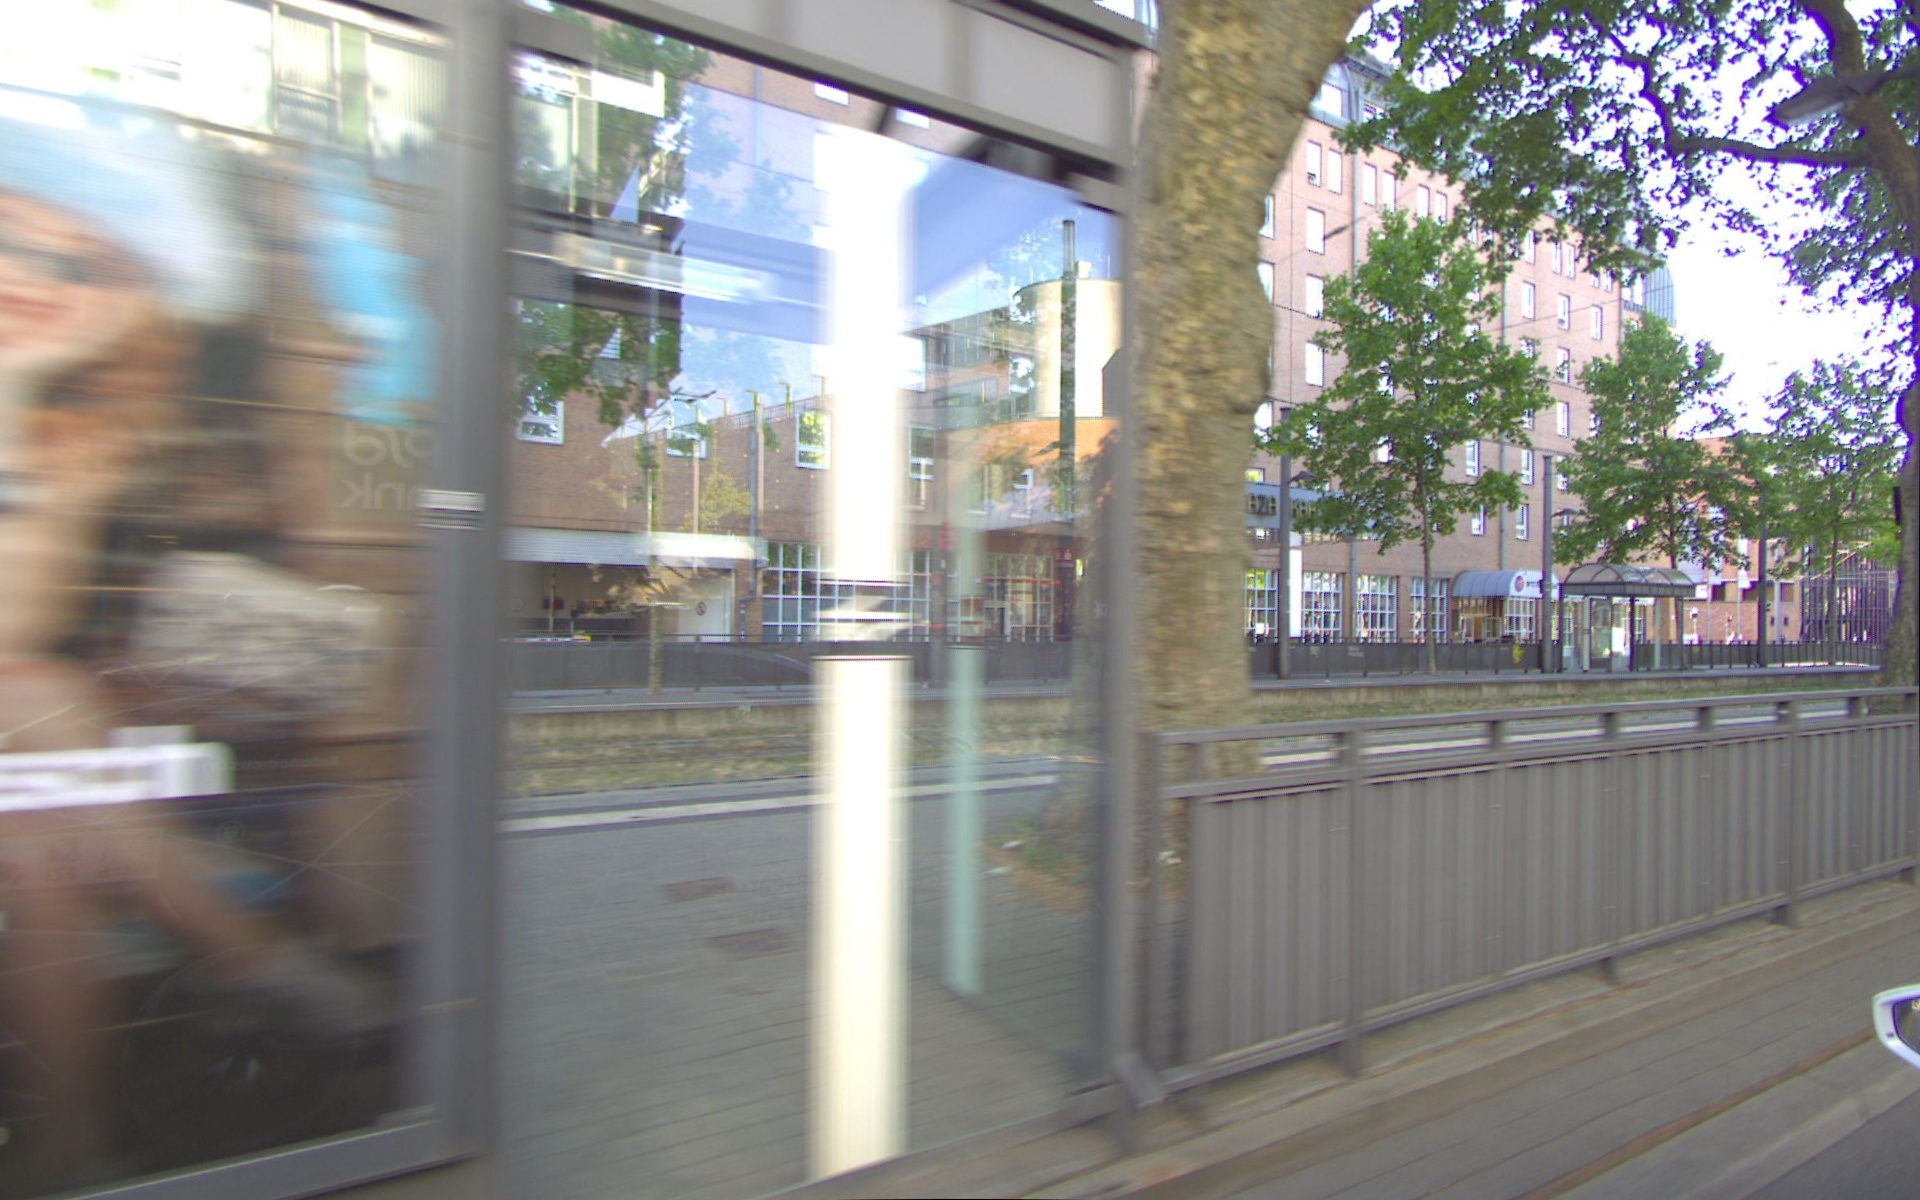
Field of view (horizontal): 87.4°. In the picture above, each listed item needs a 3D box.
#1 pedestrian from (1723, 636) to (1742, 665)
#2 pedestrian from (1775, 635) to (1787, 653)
[{"bbox_3d":[43.350,2.823,56.359,0.718,1.606,0.585,2,1,-34],"label":"pedestrian"},{"bbox_3d":[73.797,3.933,90.303,0.560,1.635,0.545,0,-1,-2],"label":"pedestrian"}]
